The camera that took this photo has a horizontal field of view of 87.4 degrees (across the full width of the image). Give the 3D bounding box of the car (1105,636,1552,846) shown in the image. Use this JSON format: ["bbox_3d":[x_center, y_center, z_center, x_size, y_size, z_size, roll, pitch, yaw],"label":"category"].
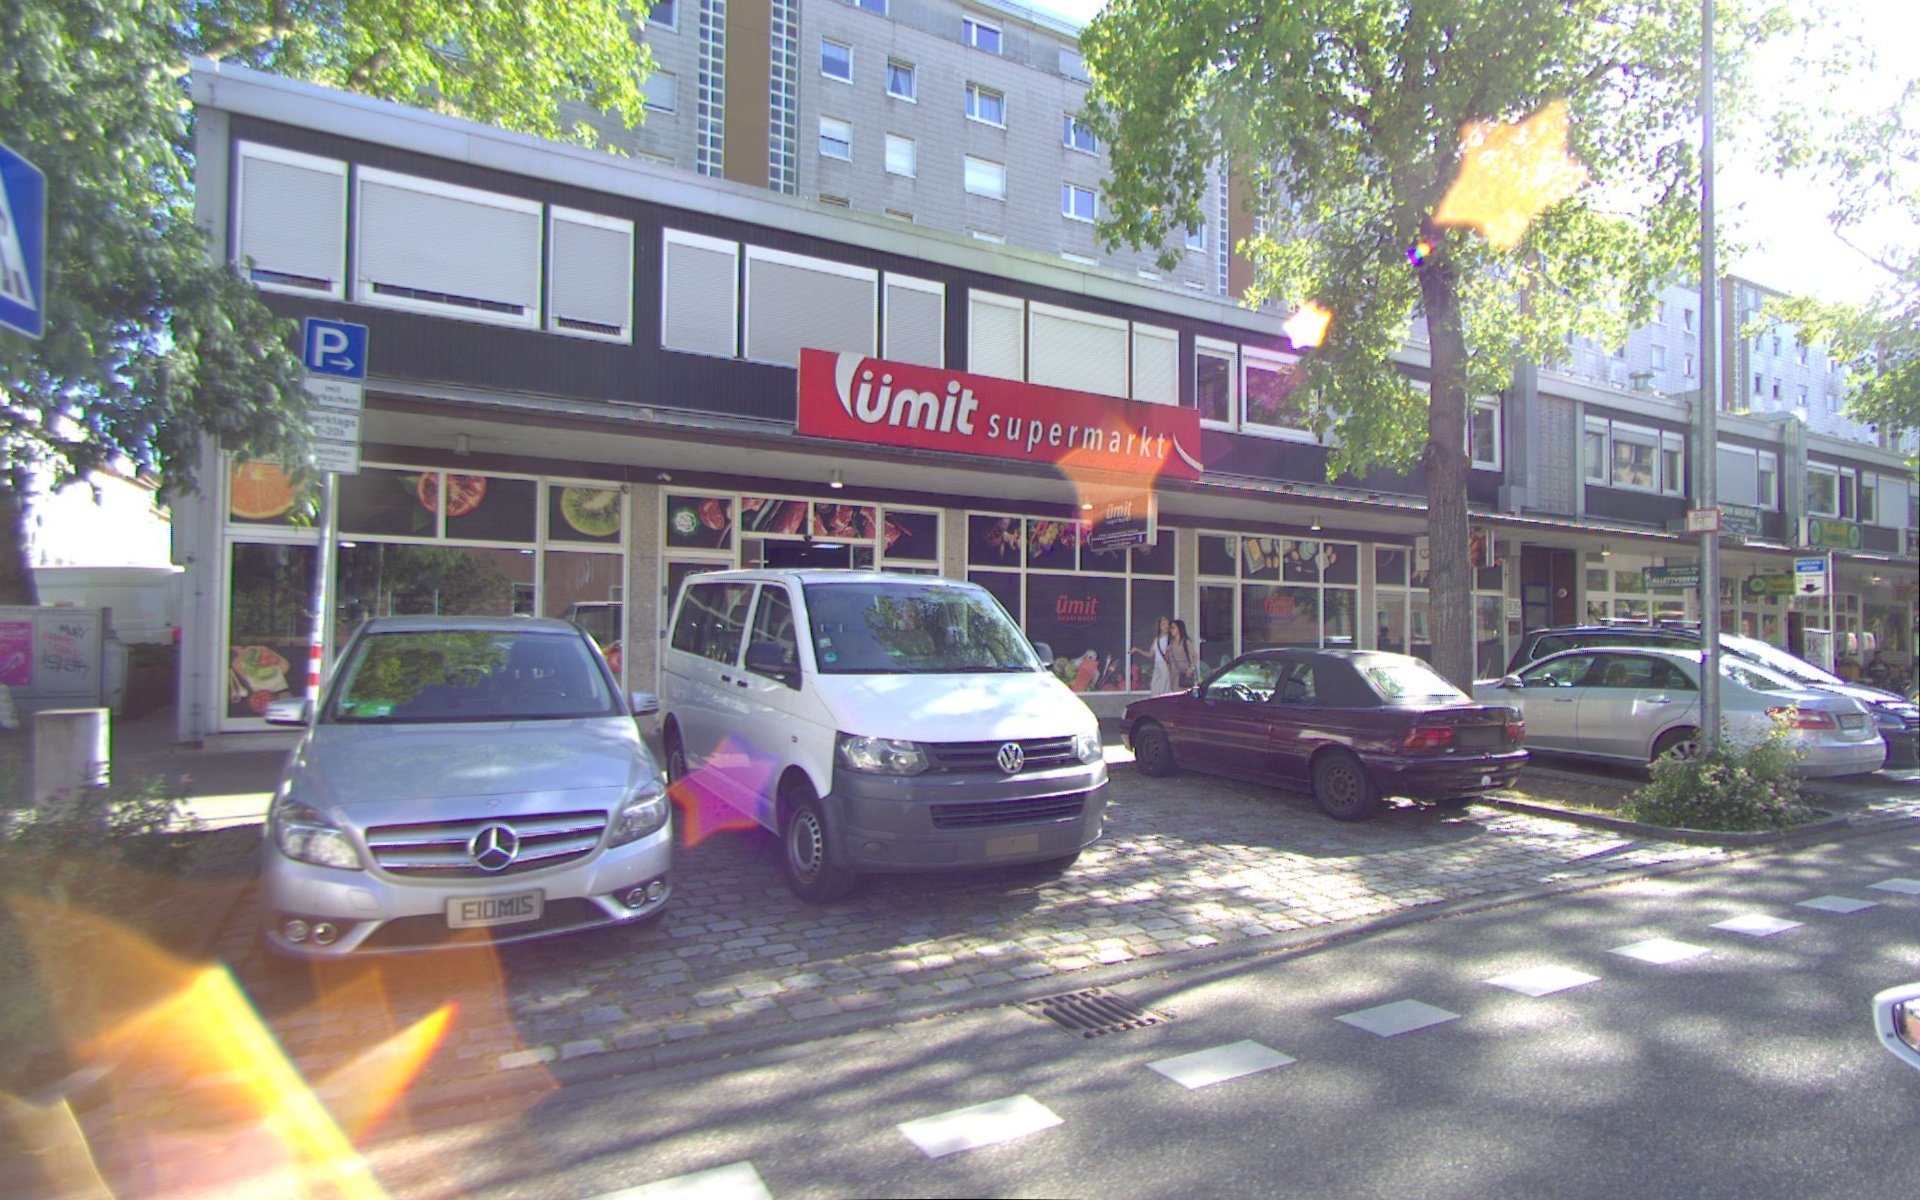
[{"bbox_3d":[3.314,1.154,9.843,1.696,1.513,4.013,1,-1,-28],"label":"car"}]

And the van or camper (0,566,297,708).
[{"bbox_3d":[-17.748,0.750,20.431,6.839,2.608,1.986,-2,-1,-28],"label":"van or camper"}]

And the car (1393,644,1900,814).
[{"bbox_3d":[7.679,1.307,11.833,1.805,1.513,4.637,1,-2,-28],"label":"car"}]

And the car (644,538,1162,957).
[{"bbox_3d":[-0.821,0.750,7.426,1.936,2.033,4.708,1,-1,-29],"label":"car"}]

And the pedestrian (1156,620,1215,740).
[{"bbox_3d":[3.244,1.136,14.472,0.625,1.673,0.528,1,-3,-28],"label":"pedestrian"}]

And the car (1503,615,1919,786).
[{"bbox_3d":[9.883,1.152,13.213,1.815,1.828,4.608,1,-2,-28],"label":"car"}]

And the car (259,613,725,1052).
[{"bbox_3d":[-2.857,0.954,6.067,1.737,1.634,4.272,1,-2,-28],"label":"car"}]

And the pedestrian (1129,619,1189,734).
[{"bbox_3d":[2.974,1.132,15.044,0.625,1.673,0.627,1,-3,-28],"label":"pedestrian"}]
